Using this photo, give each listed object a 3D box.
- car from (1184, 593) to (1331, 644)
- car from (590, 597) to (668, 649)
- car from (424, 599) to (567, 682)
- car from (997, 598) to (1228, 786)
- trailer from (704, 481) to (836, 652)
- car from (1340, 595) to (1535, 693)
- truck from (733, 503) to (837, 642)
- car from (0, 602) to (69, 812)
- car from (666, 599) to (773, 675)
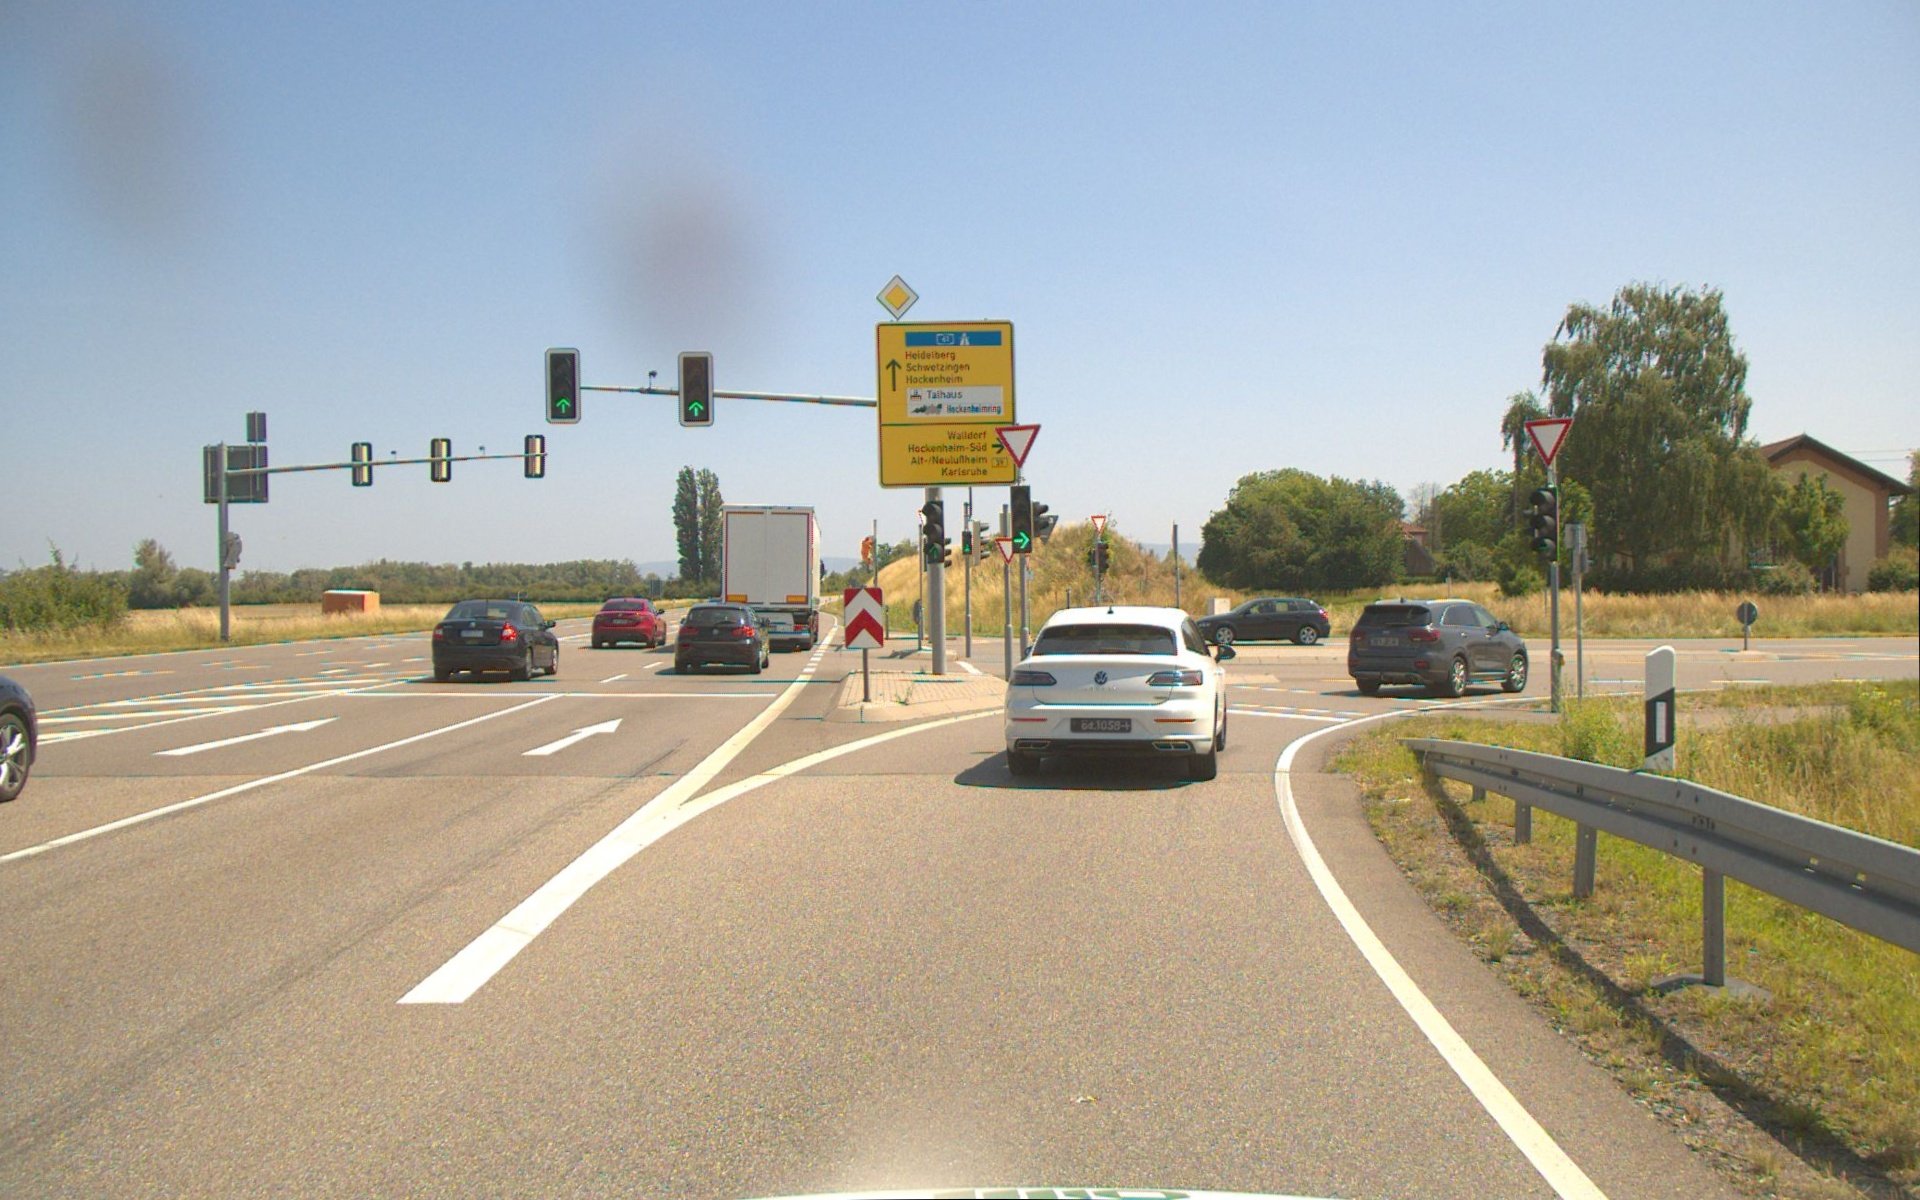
[{"bbox_3d":[9.067,0.548,50.572,4.172,1.392,1.776,-1,1,0],"label":"car"},{"bbox_3d":[-9.935,0.661,49.928,1.714,1.446,4.562,1,0,-4],"label":"car"},{"bbox_3d":[-8.601,0.723,30.988,1.641,1.436,4.464,0,0,-3],"label":"car"},{"bbox_3d":[1.561,0.736,15.334,1.808,1.458,4.612,0,0,9],"label":"car"},{"bbox_3d":[-5.665,-0.902,51.583,3.314,4.622,12.862,1,0,-3],"label":"trailer"},{"bbox_3d":[8.755,0.757,30.108,1.904,1.645,4.357,0,-1,39],"label":"car"},{"bbox_3d":[-6.066,-0.912,58.425,3.314,4.622,6.368,1,0,-3],"label":"truck"},{"bbox_3d":[-7.595,0.738,10.289,1.851,1.472,4.522,0,0,-3],"label":"car"},{"bbox_3d":[-4.992,0.727,34.811,1.748,1.456,4.379,1,0,-2],"label":"car"}]
